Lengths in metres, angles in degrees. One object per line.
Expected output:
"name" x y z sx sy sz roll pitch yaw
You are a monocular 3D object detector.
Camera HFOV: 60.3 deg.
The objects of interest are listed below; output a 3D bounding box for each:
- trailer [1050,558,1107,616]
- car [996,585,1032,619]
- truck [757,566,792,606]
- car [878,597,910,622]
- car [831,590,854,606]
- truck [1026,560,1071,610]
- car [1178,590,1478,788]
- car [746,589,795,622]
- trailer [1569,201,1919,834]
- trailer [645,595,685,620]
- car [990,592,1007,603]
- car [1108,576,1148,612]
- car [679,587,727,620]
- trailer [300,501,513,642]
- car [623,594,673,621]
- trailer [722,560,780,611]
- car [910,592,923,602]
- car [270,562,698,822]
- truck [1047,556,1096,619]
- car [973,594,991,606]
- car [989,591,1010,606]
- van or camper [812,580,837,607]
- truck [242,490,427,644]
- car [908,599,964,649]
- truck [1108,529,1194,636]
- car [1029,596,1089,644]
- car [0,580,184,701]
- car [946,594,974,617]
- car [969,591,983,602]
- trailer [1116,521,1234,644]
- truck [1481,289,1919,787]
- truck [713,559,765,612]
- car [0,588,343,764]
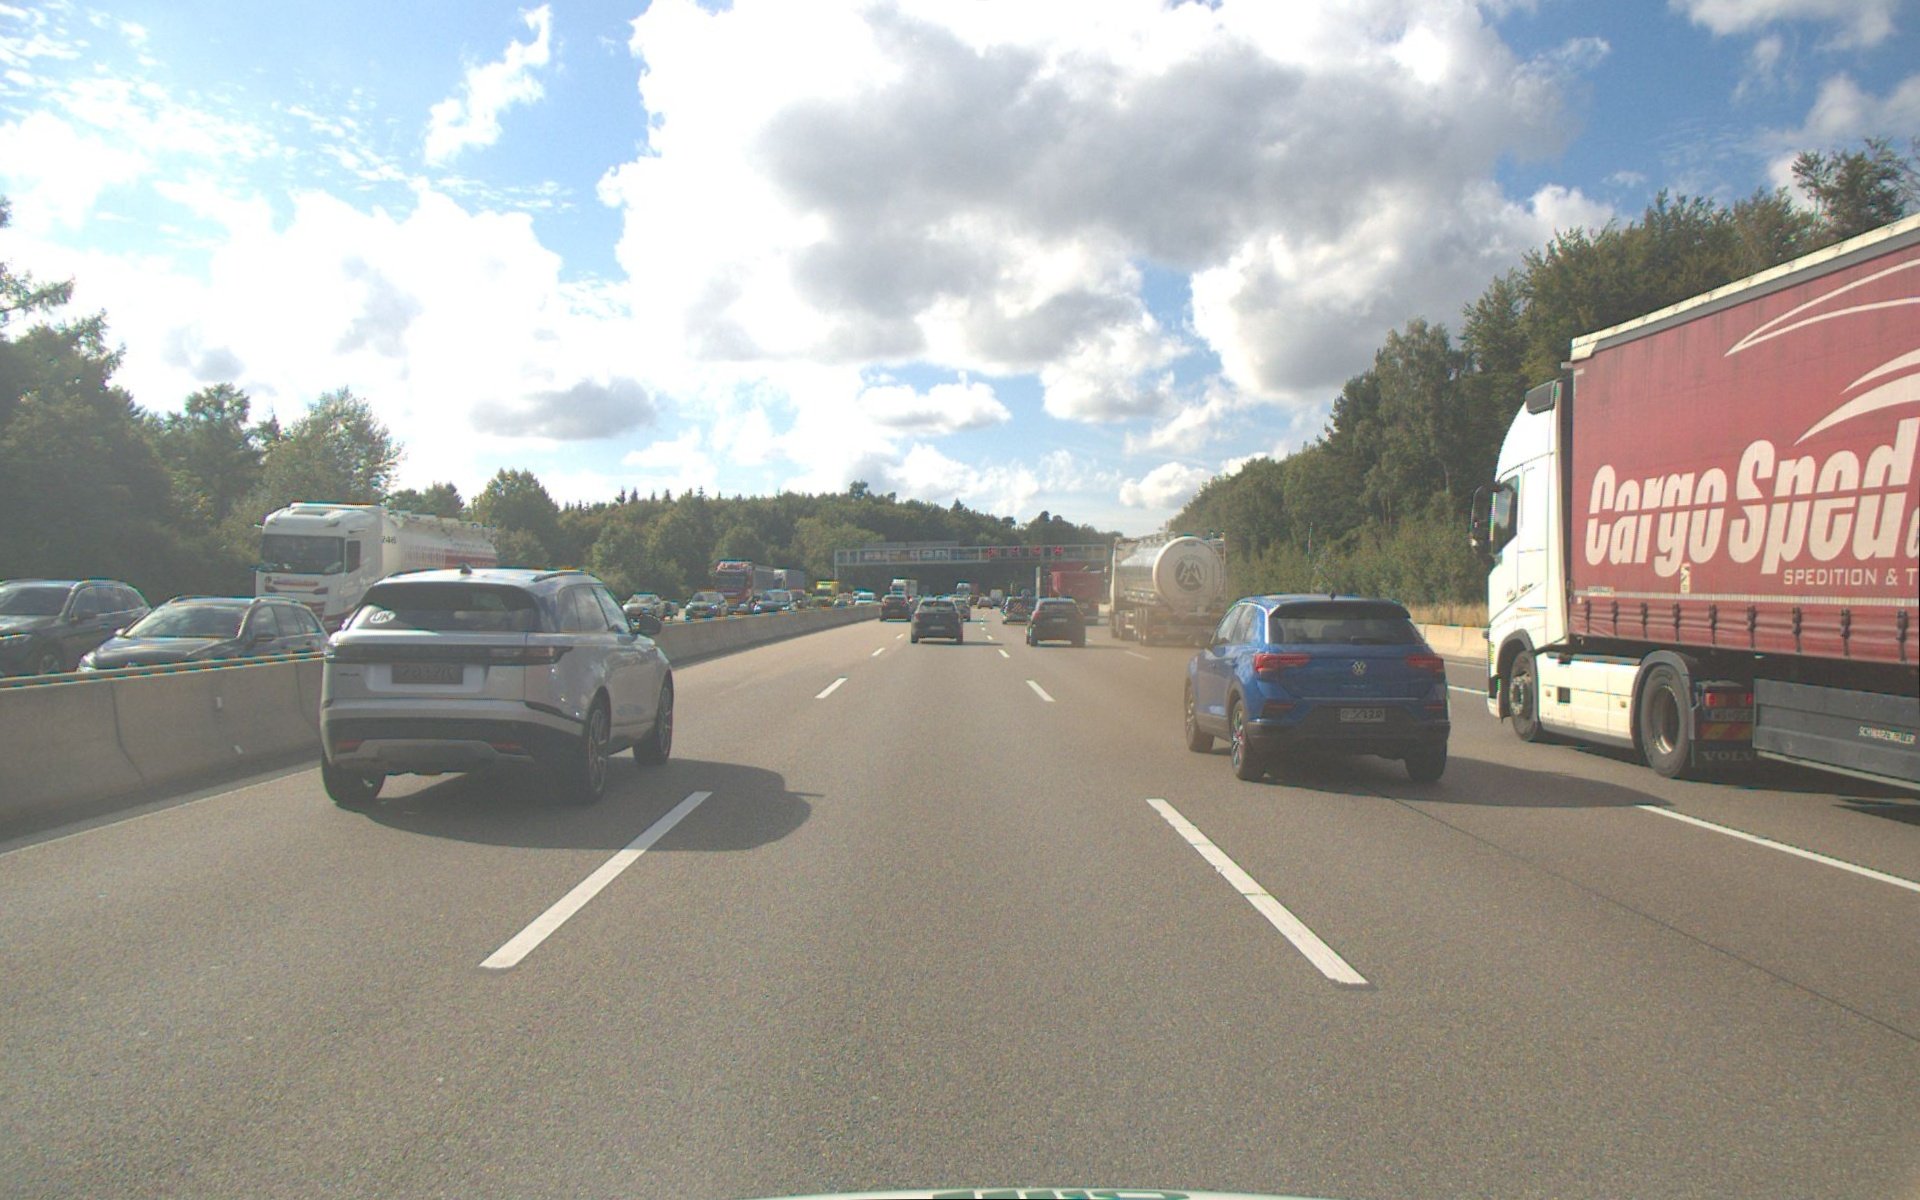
"trailer" 7.060 -0.835 99.675 2.654 3.287 9.732 1 1 0
"car" 3.095 0.131 95.748 1.855 1.889 4.099 1 0 -1
"truck" -19.648 -1.439 175.444 2.760 4.166 6.063 0 0 2
"car" -4.024 0.552 101.387 1.902 1.483 3.999 -1 0 -1
"car" -12.233 -0.180 172.399 1.805 1.624 4.915 -1 0 2
"truck" 7.350 -1.207 138.247 3.055 4.003 10.409 0 0 -1
"car" 3.215 0.695 15.346 1.737 1.557 4.457 0 0 -1
"car" -10.126 0.278 88.640 2.111 1.729 5.349 0 0 -1
"trailer" 7.608 -0.524 9.916 2.717 4.116 13.711 0 0 -1
"trailer" -16.995 0.411 95.326 1.503 1.427 4.180 0 0 1
"car" 5.325 -0.295 229.485 2.035 1.483 3.999 -1 0 -2
"car" 9.748 -0.334 95.960 1.855 1.991 4.100 1 0 0
"car" -13.942 0.175 89.785 1.953 1.693 4.686 0 0 -1
"trailer" -17.447 -0.839 53.318 2.730 4.014 12.252 0 0 0
"car" -17.103 0.406 90.898 1.789 1.439 4.675 0 0 1
"trailer" -16.505 -1.118 131.502 2.906 3.925 11.282 0 0 1
"car" -6.566 -0.442 250.881 1.889 1.483 4.251 0 0 0
"car" -3.473 0.579 13.261 1.965 1.644 5.300 1 0 -1
"truck" 7.032 -0.808 104.642 2.654 3.783 5.817 1 1 0
"car" 2.747 0.027 207.262 2.035 1.483 3.999 -1 0 -2
"car" 4.059 -0.153 171.635 1.903 1.483 3.999 -1 0 -2
"van or camper" -14.927 -0.743 182.552 2.325 2.942 6.505 -1 0 -1
"truck" -17.441 -0.871 46.615 2.730 4.014 6.445 0 0 0
"car" -0.784 0.781 55.031 1.785 1.573 4.000 0 0 -1
"truck" 7.246 -0.646 63.551 2.594 3.890 6.081 0 0 0
"car" 3.155 0.618 53.551 1.785 1.483 4.001 0 0 1
"car" -13.661 0.541 24.855 1.822 1.648 4.747 0 0 -1
"car" 0.023 0.342 106.214 1.785 1.483 4.000 0 0 1
"car" 2.355 -0.541 245.434 1.889 1.483 4.392 -1 0 0
"trailer" 7.261 -0.574 57.513 2.594 3.833 11.859 0 0 0
"truck" 7.539 -0.525 16.613 2.717 4.116 5.772 0 0 -1
"truck" -16.687 -1.094 125.199 2.906 3.925 6.765 0 0 1
"car" -9.619 0.822 20.535 2.127 1.911 4.980 0 0 -1
